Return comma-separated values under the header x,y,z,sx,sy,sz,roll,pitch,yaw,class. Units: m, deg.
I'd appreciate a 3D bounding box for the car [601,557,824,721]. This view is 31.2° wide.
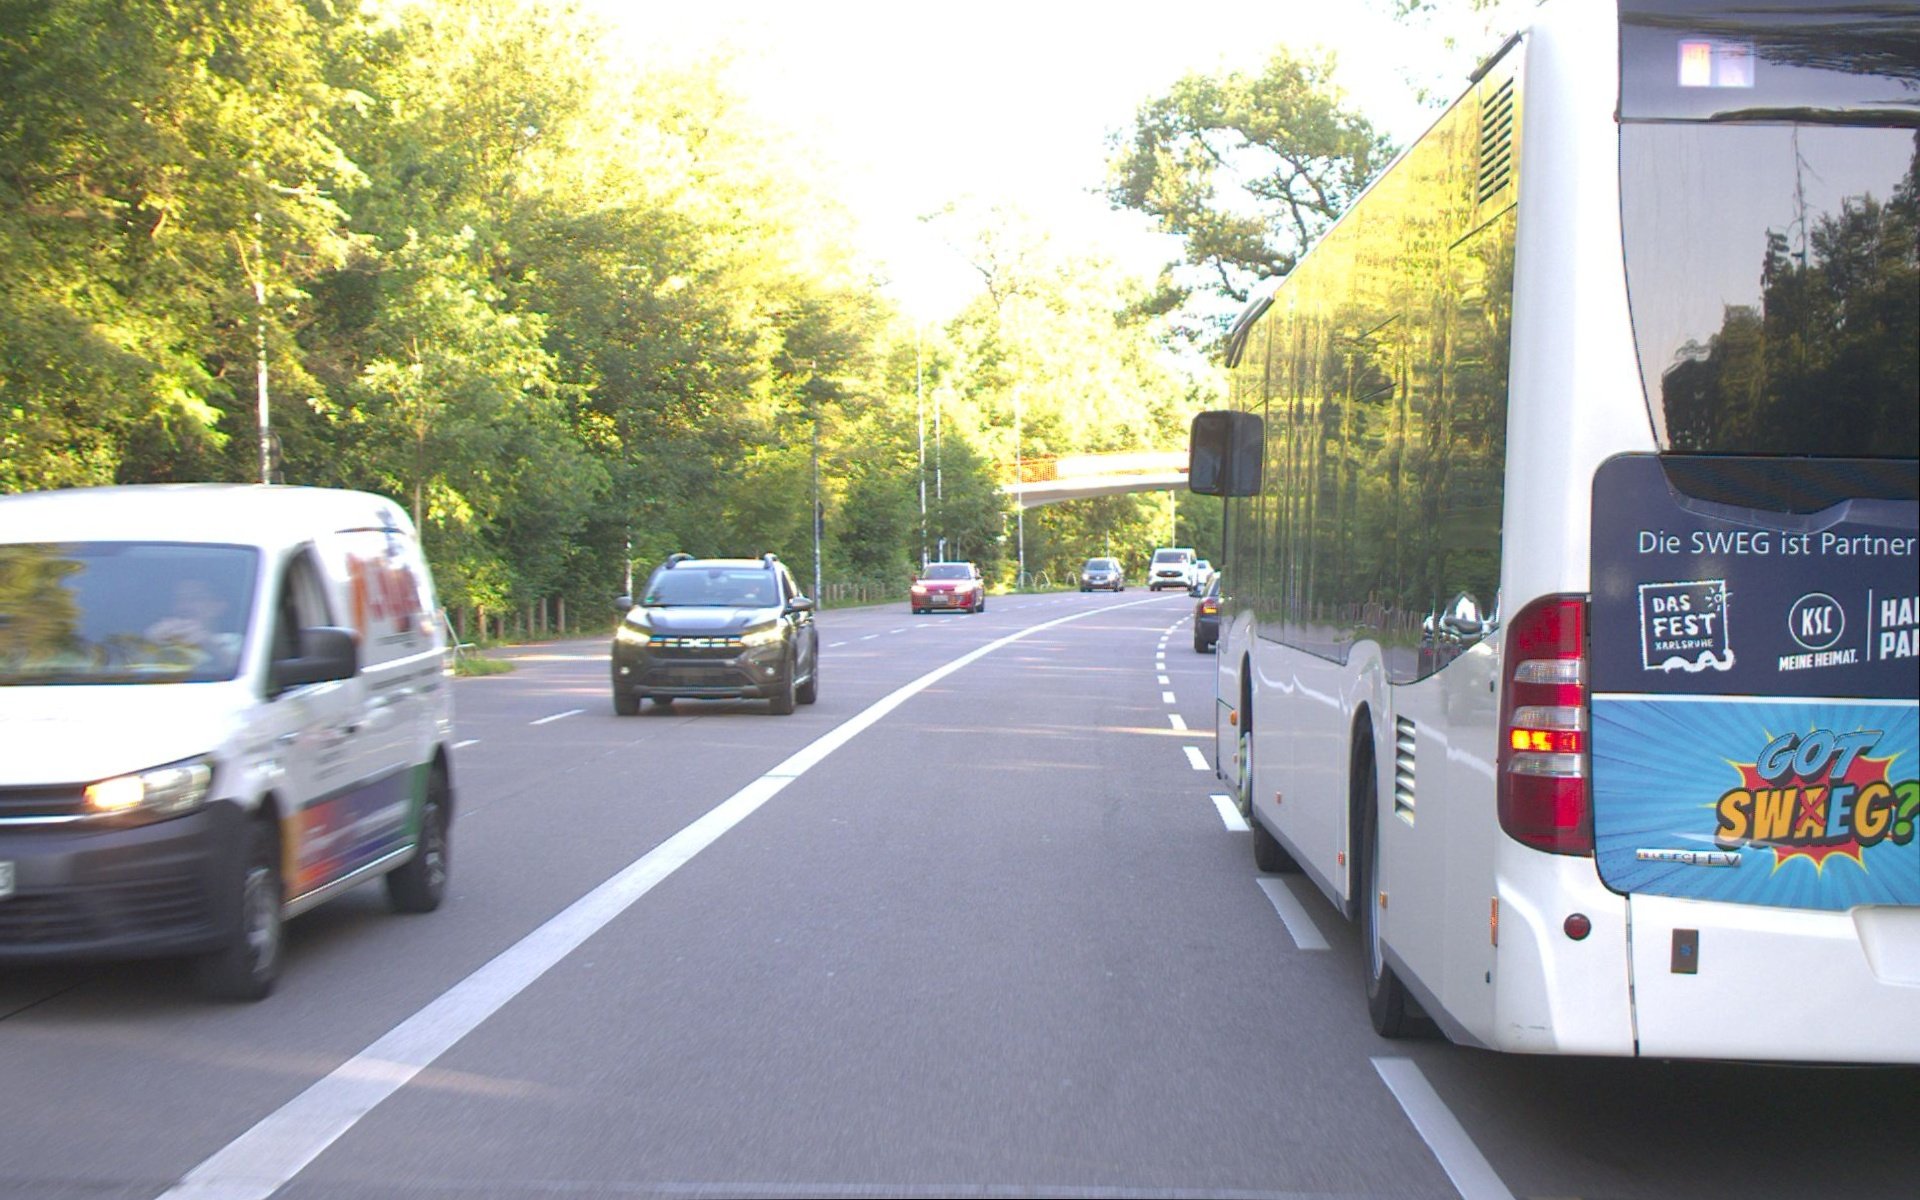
x,y,z,sx,sy,sz,roll,pitch,yaw,class
-2.442,0.351,34.862,1.805,1.539,4.089,-1,1,2,car

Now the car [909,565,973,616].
x,y,z,sx,sy,sz,roll,pitch,yaw,class
-0.556,-0.295,100.803,1.823,1.457,4.925,0,1,0,car

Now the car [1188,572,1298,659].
x,y,z,sx,sy,sz,roll,pitch,yaw,class
4.867,0.246,59.593,1.728,1.436,4.089,0,1,2,car

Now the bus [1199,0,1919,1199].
x,y,z,sx,sy,sz,roll,pitch,yaw,class
2.607,-0.155,13.671,2.704,3.211,12.279,0,1,1,bus

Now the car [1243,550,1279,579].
x,y,z,sx,sy,sz,roll,pitch,yaw,class
17.876,-2.088,203.867,1.918,1.698,4.441,0,1,7,car

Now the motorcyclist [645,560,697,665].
x,y,z,sx,sy,sz,roll,pitch,yaw,class
-4.287,0.176,51.068,0.656,1.535,0.905,-1,0,1,motorcyclist

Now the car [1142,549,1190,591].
x,y,z,sx,sy,sz,roll,pitch,yaw,class
9.686,-1.421,161.447,2.206,1.954,4.912,0,1,4,car

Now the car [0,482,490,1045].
x,y,z,sx,sy,sz,roll,pitch,yaw,class
-3.211,0.495,13.171,1.906,1.750,4.799,-1,1,3,car

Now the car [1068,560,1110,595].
x,y,z,sx,sy,sz,roll,pitch,yaw,class
6.001,-1.046,159.285,1.800,1.594,3.999,0,0,4,car
